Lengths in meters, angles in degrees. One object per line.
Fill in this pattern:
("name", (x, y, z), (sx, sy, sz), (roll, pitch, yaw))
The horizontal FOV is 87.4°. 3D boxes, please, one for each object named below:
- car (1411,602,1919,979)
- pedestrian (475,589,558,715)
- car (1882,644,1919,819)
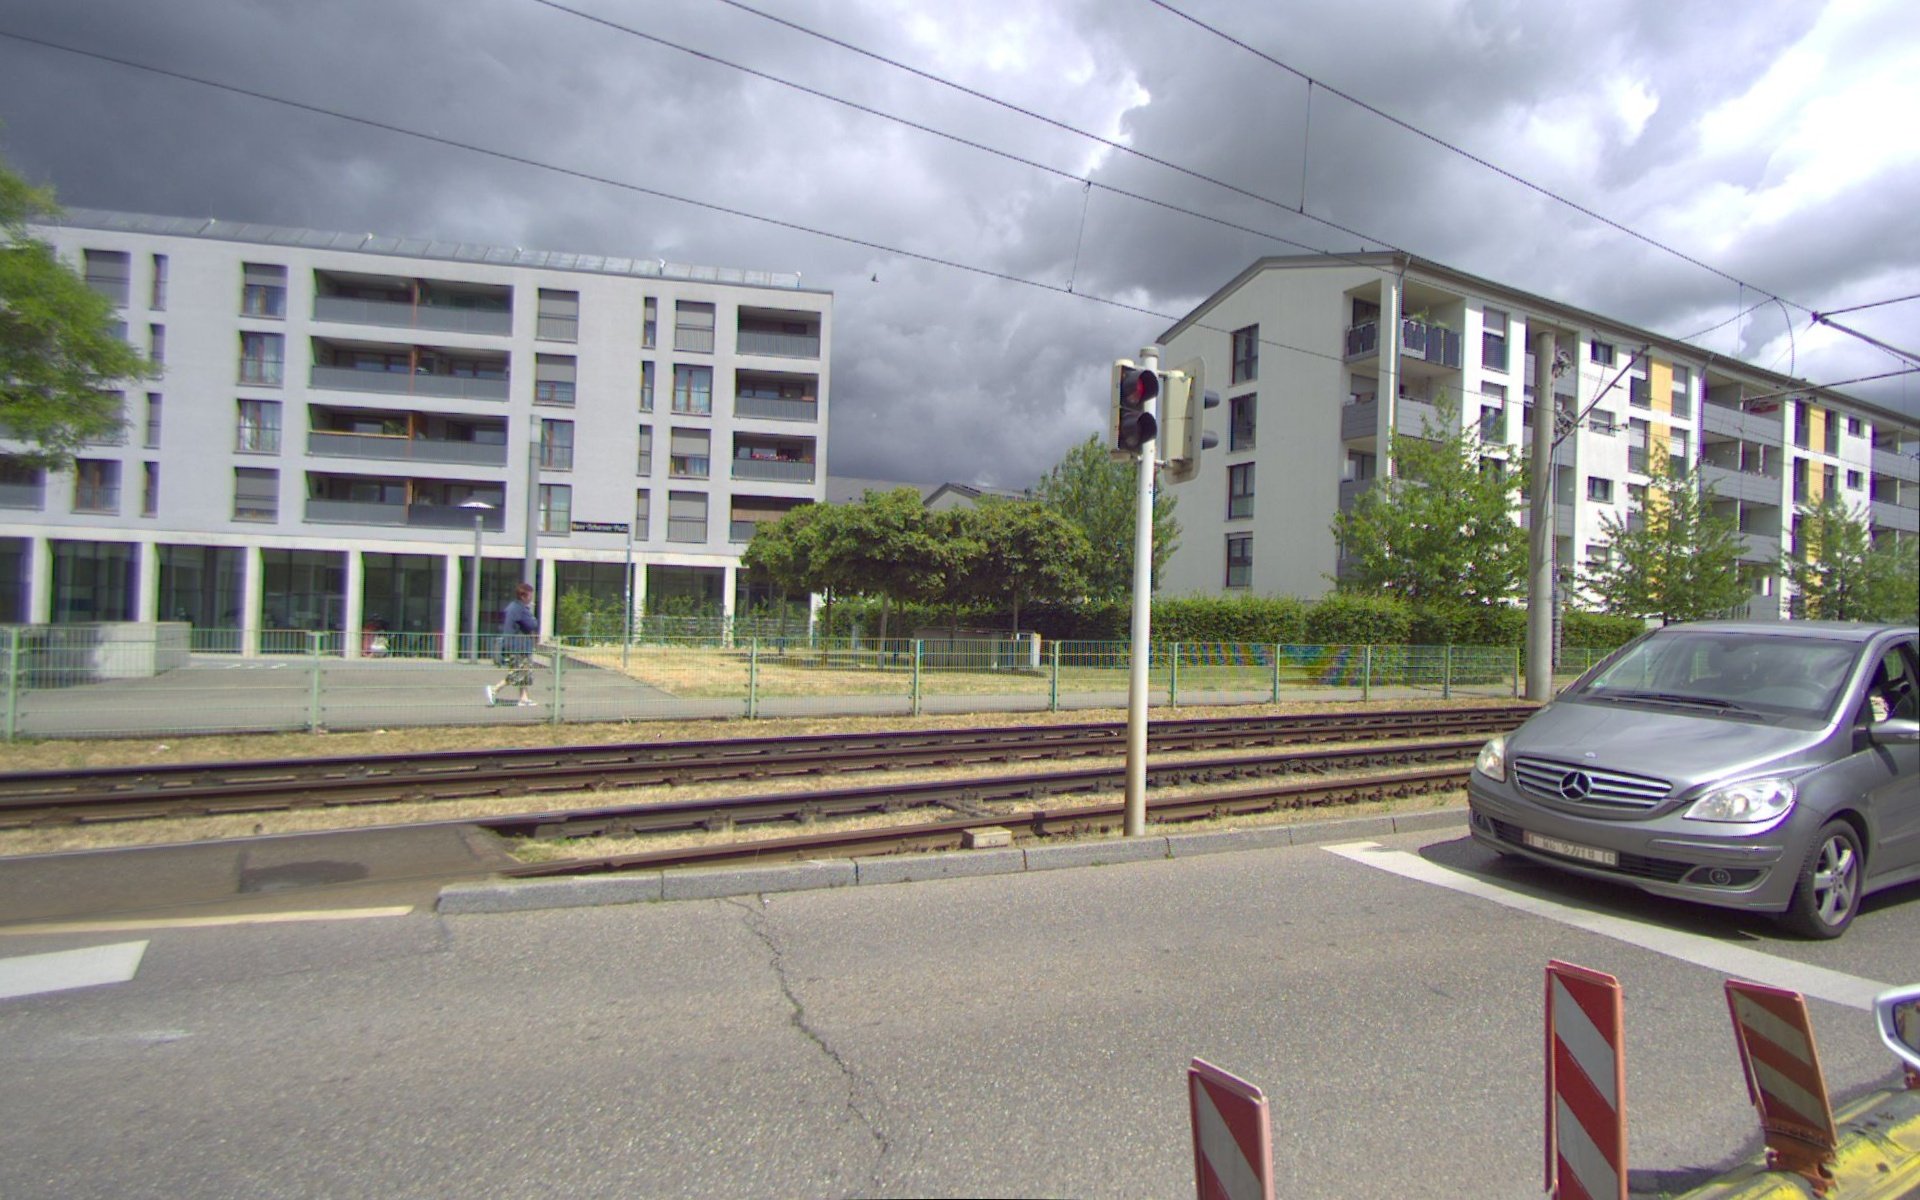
("car", (5.021, 0.916, 6.306), (4.124, 1.682, 1.850), (2, 0, -28))
("pedestrian", (-6.038, 0.687, 13.660), (0.927, 1.634, 0.750), (2, 0, -30))
("car", (10.349, 1.181, 9.002), (4.411, 1.464, 1.803), (2, -1, -30))
